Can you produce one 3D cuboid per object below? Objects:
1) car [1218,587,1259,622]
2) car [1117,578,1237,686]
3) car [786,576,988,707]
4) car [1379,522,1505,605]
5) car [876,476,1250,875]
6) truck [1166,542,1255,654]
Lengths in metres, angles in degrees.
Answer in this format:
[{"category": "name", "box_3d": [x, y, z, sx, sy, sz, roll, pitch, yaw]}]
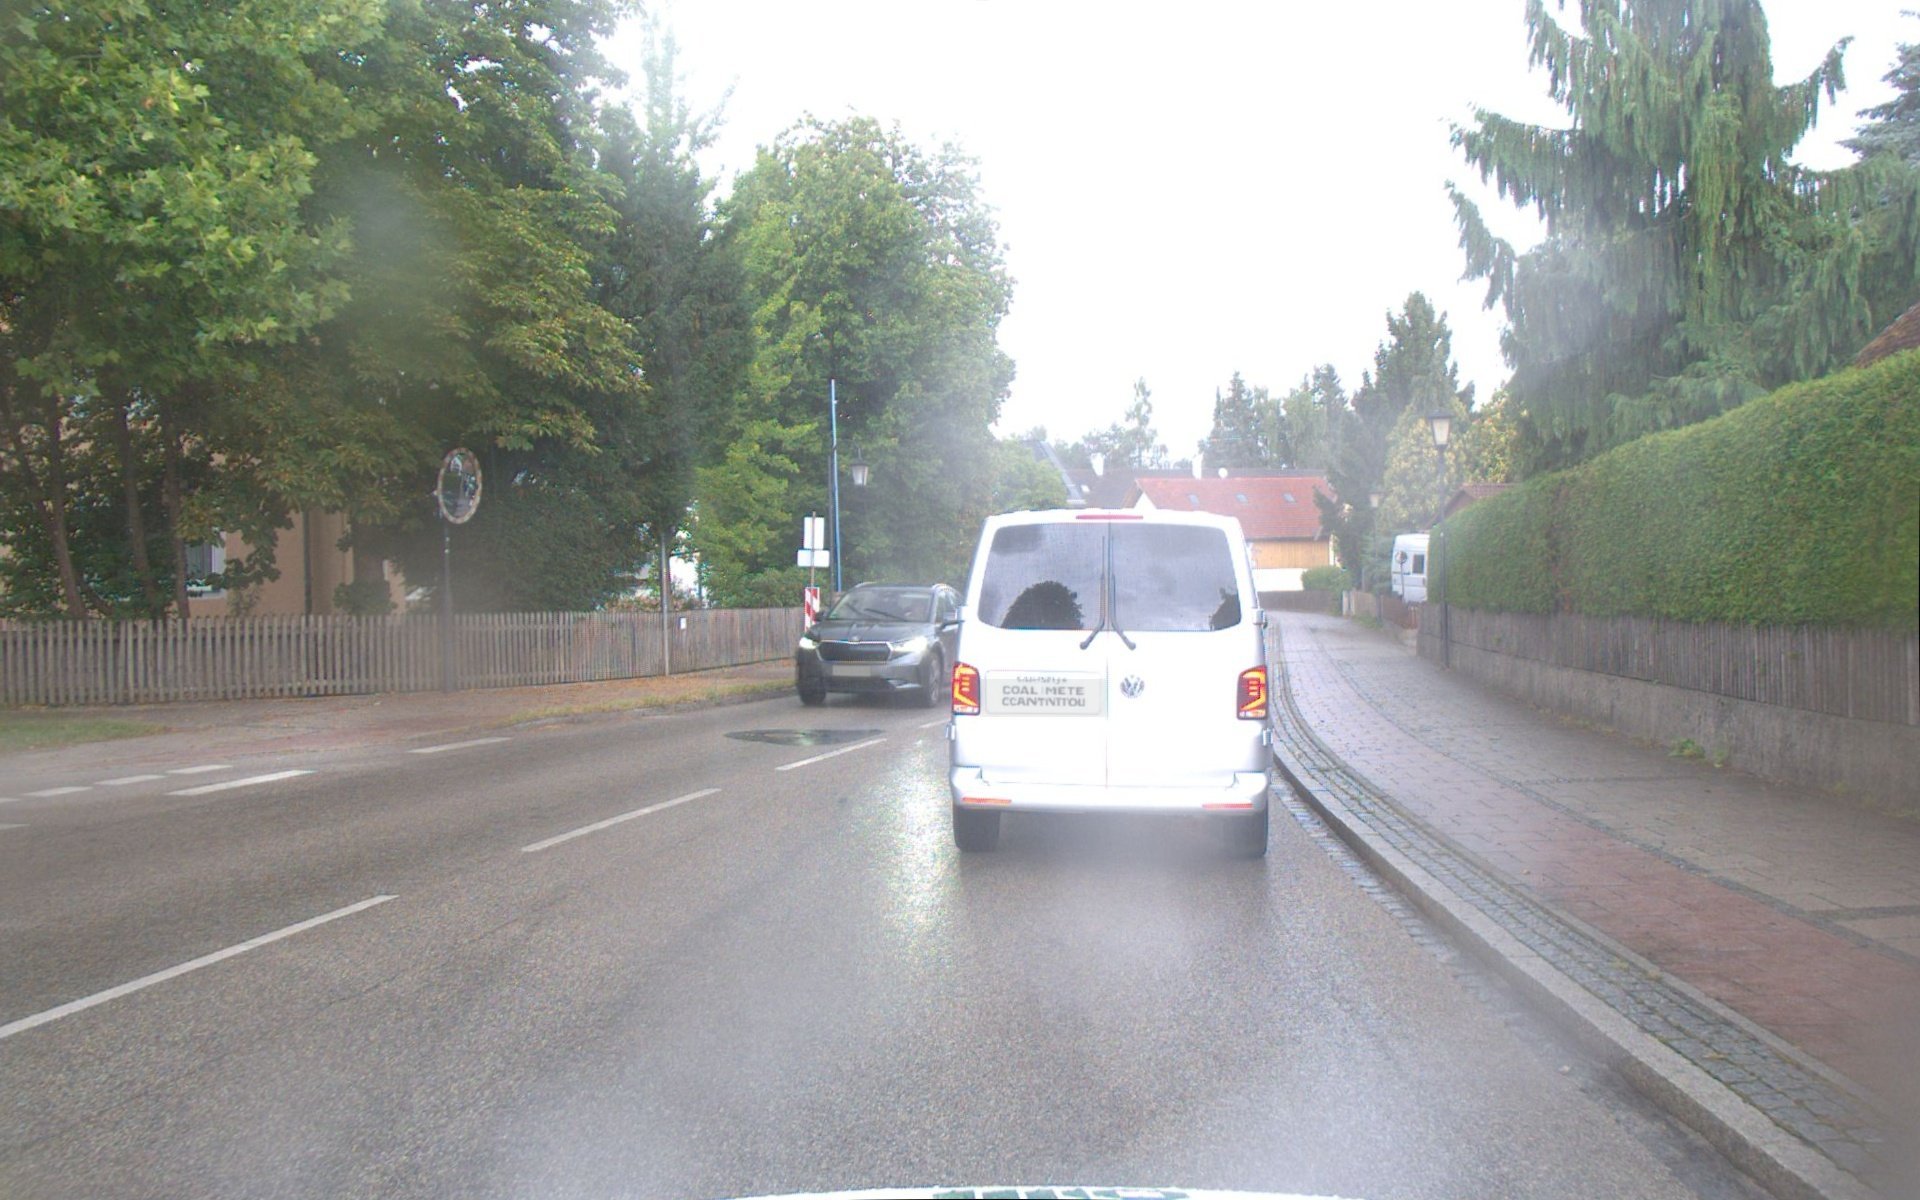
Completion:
[{"category": "car", "box_3d": [12.776, 0.214, 75.820, 1.762, 1.534, 4.003, 1, 0, 10]}, {"category": "car", "box_3d": [3.620, 0.496, 27.117, 1.762, 1.616, 4.003, 1, 0, 10]}, {"category": "car", "box_3d": [-0.893, 0.504, 22.923, 1.951, 1.623, 4.195, 1, 0, 9]}, {"category": "car", "box_3d": [13.669, -0.974, 47.230, 1.954, 2.211, 4.950, 1, 0, -3]}, {"category": "car", "box_3d": [0.864, 0.391, 10.628, 1.762, 2.049, 4.003, 1, 0, 13]}, {"category": "truck", "box_3d": [7.570, -0.038, 49.546, 2.422, 3.128, 6.301, 1, 0, 10]}]
